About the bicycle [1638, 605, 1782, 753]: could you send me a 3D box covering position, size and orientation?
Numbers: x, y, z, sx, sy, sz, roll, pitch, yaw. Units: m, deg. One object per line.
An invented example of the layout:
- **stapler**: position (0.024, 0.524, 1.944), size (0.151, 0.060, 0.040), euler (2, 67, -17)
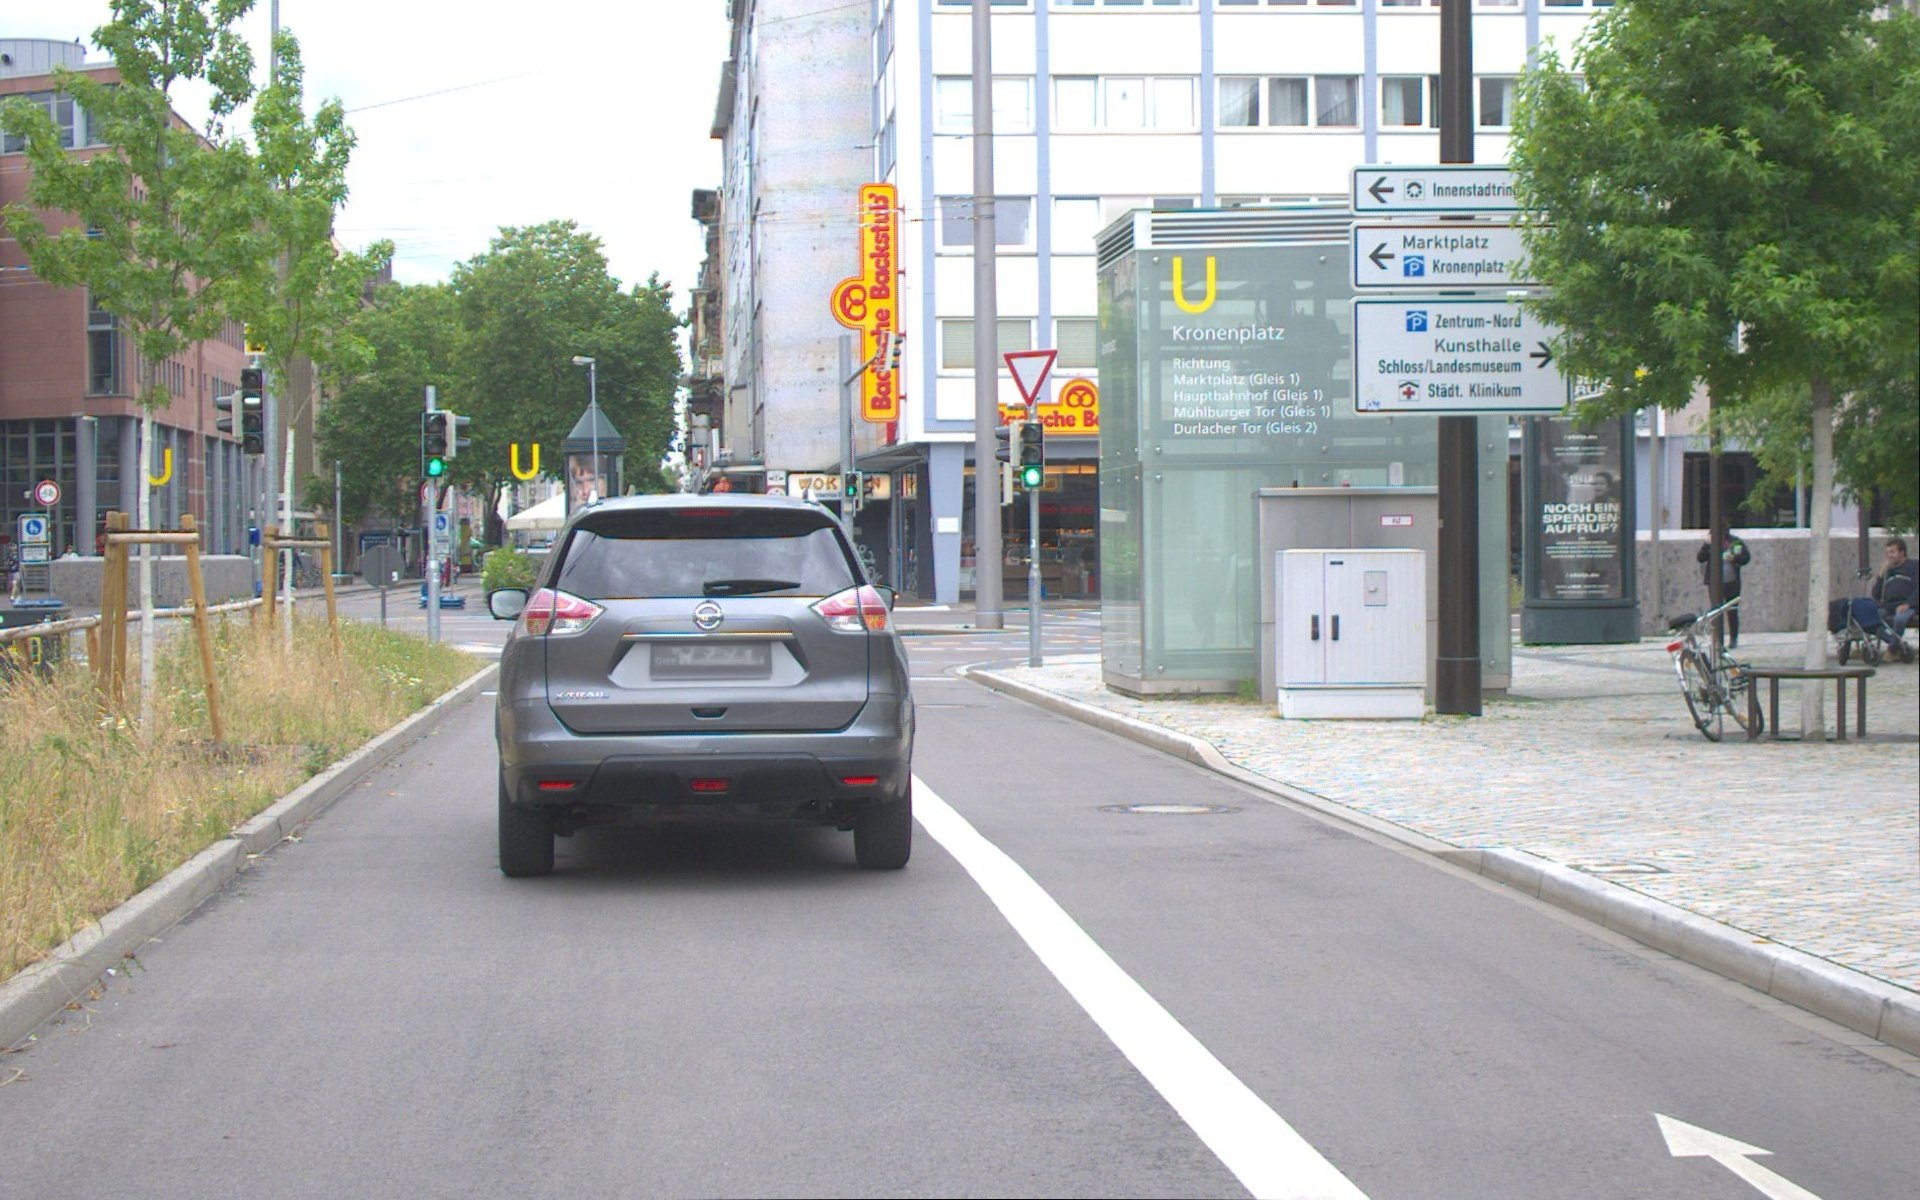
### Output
- **bicycle**: position (5.347, 0.542, 24.449), size (0.659, 0.975, 1.752), euler (0, 1, 24)

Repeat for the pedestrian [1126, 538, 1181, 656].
- **pedestrian**: position (2.904, -0.051, 51.538), size (0.621, 1.755, 0.780), euler (0, 1, -12)

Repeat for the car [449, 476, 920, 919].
- **car**: position (-1.167, 0.351, 16.534), size (1.863, 1.768, 4.567), euler (-2, 1, 0)

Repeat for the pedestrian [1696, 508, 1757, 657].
- **pedestrian**: position (9.108, -0.211, 40.877), size (0.671, 1.755, 0.641), euler (1, 1, 11)

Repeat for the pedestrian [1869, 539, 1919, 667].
- **pedestrian**: position (10.064, 0.015, 35.628), size (1.044, 1.292, 0.733), euler (-2, 1, 1)

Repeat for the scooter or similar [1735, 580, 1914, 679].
- **scooter or similar**: position (8.777, 0.300, 34.921), size (1.590, 0.945, 0.723), euler (-2, 1, 34)

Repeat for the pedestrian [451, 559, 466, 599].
- **pedestrian**: position (-21.545, -0.908, 147.702), size (0.600, 1.708, 0.656), euler (0, 1, -12)

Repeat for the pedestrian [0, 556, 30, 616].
- **pedestrian**: position (-28.897, -0.436, 105.107), size (0.732, 1.835, 0.702), euler (0, 1, -27)

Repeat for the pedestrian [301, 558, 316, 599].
- **pedestrian**: position (-27.080, -0.888, 142.912), size (0.600, 1.708, 0.656), euler (0, 1, -12)

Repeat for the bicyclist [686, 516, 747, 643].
- **bicyclist**: position (-3.495, -0.295, 49.323), size (0.834, 1.806, 0.878), euler (0, 1, -2)

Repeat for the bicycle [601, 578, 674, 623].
- **bicycle**: position (-7.820, 0.015, 83.258), size (1.695, 1.062, 0.437), euler (0, 1, -21)

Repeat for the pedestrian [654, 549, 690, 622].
- **pedestrian**: position (-6.957, -0.351, 82.951), size (0.732, 1.740, 0.663), euler (0, 1, -17)

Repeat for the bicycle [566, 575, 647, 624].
- **bicycle**: position (-8.585, -0.018, 83.521), size (1.867, 1.168, 0.531), euler (0, 1, -19)

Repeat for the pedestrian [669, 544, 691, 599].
- **pedestrian**: position (-8.623, -0.884, 105.925), size (0.643, 1.699, 0.559), euler (0, 1, -4)

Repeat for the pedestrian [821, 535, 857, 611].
- **pedestrian**: position (-2.762, -0.618, 78.467), size (0.710, 1.699, 0.734), euler (1, 1, 8)
